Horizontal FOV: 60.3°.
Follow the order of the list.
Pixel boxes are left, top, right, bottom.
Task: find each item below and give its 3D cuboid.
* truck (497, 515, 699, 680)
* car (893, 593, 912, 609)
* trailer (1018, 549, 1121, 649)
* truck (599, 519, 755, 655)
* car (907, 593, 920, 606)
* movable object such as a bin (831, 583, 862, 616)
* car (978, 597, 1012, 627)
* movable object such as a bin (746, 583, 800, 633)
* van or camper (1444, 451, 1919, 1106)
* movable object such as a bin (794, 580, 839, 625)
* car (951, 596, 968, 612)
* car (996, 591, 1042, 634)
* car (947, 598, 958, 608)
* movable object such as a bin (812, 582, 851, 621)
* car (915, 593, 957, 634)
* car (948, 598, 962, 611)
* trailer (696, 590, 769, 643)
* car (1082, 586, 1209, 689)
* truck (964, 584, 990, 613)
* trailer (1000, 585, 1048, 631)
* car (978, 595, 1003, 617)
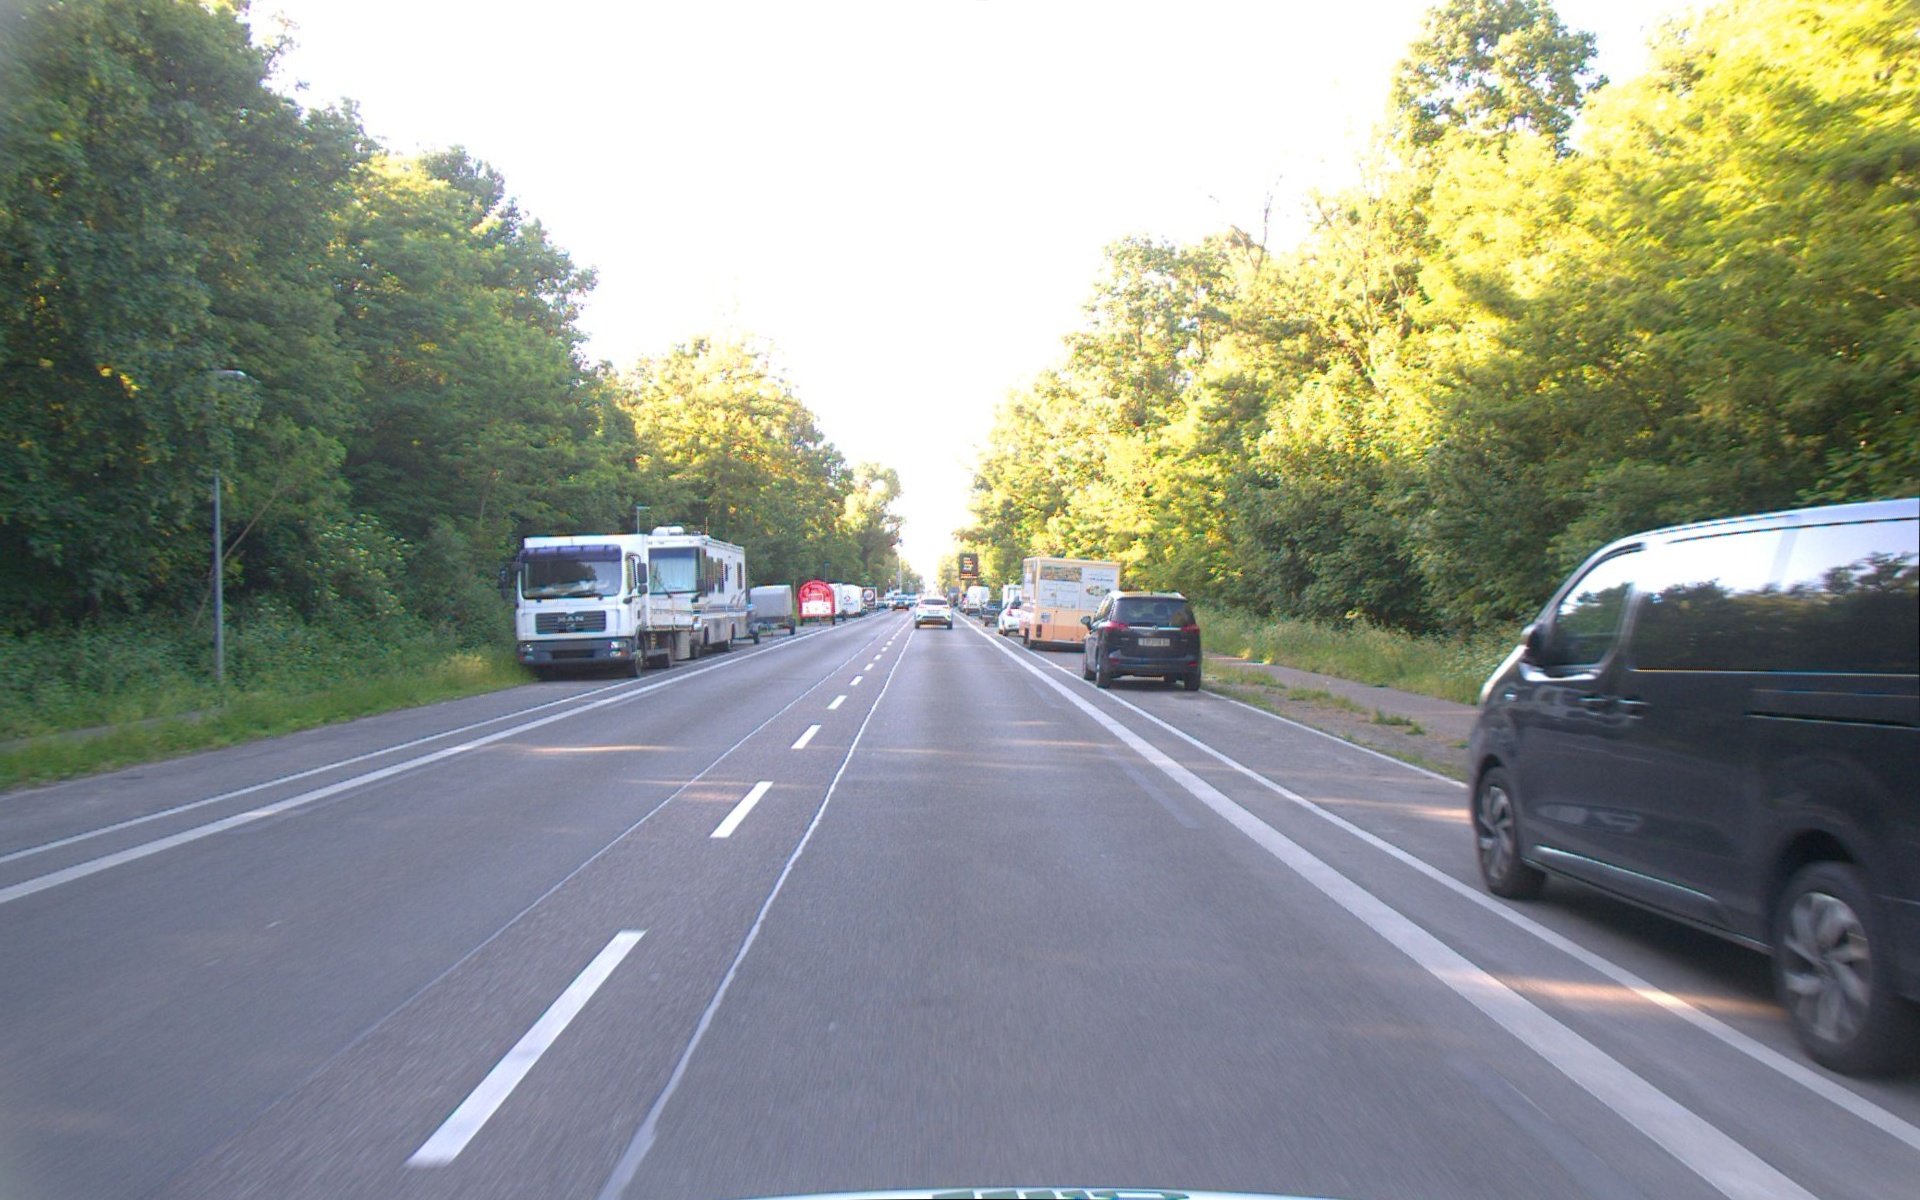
[{"bbox_3d":[-7.548,-0.056,35.617,2.652,3.148,7.988,0,0,-1],"label":"truck"},{"bbox_3d":[-6.293,0.123,181.269,1.953,1.707,3.999,-1,0,-1],"label":"car"},{"bbox_3d":[3.315,-0.027,51.663,2.701,2.920,6.587,0,0,-1],"label":"trailer"},{"bbox_3d":[-7.788,-0.339,46.966,2.652,3.406,10.921,0,0,-1],"label":"truck"},{"bbox_3d":[-6.594,-0.061,235.240,1.743,1.694,4.429,-1,0,-1],"label":"car"},{"bbox_3d":[-9.012,-0.025,131.470,2.275,2.545,3.999,0,0,-1],"label":"movable object such as a bin"},{"bbox_3d":[1.835,0.621,87.538,1.622,1.504,3.753,0,0,-1],"label":"car"},{"bbox_3d":[-7.931,0.322,70.404,1.914,2.049,3.999,0,0,-1],"label":"movable object such as a bin"},{"bbox_3d":[3.837,0.548,7.000,1.953,1.966,5.198,1,0,-1],"label":"van or camper"},{"bbox_3d":[-8.208,0.128,94.631,2.275,2.545,3.999,0,0,-1],"label":"movable object such as a bin"},{"bbox_3d":[-0.021,0.375,163.019,1.622,1.504,3.753,0,0,-1],"label":"car"},{"bbox_3d":[2.383,0.488,67.644,1.697,1.713,3.999,0,0,-1],"label":"car"},{"bbox_3d":[-1.106,0.450,239.938,1.622,1.504,3.753,0,0,-1],"label":"car"},{"bbox_3d":[-8.452,0.103,109.084,2.275,2.545,3.999,0,0,-1],"label":"movable object such as a bin"},{"bbox_3d":[-1.141,0.626,79.403,1.987,1.872,4.028,0,0,-1],"label":"car"},{"bbox_3d":[-0.631,0.557,195.511,1.622,1.504,3.753,0,0,-1],"label":"car"},{"bbox_3d":[-7.789,0.540,56.985,1.953,1.780,4.327,0,0,-1],"label":"trailer"},{"bbox_3d":[3.262,0.621,29.771,1.803,1.691,4.000,1,0,0],"label":"car"},{"bbox_3d":[1.434,-0.144,142.465,2.054,2.495,5.679,0,0,-1],"label":"truck"},{"bbox_3d":[2.848,0.341,74.337,1.953,2.004,3.999,0,0,-1],"label":"trailer"},{"bbox_3d":[2.182,0.421,118.726,1.622,1.504,3.753,0,0,-1],"label":"car"}]
